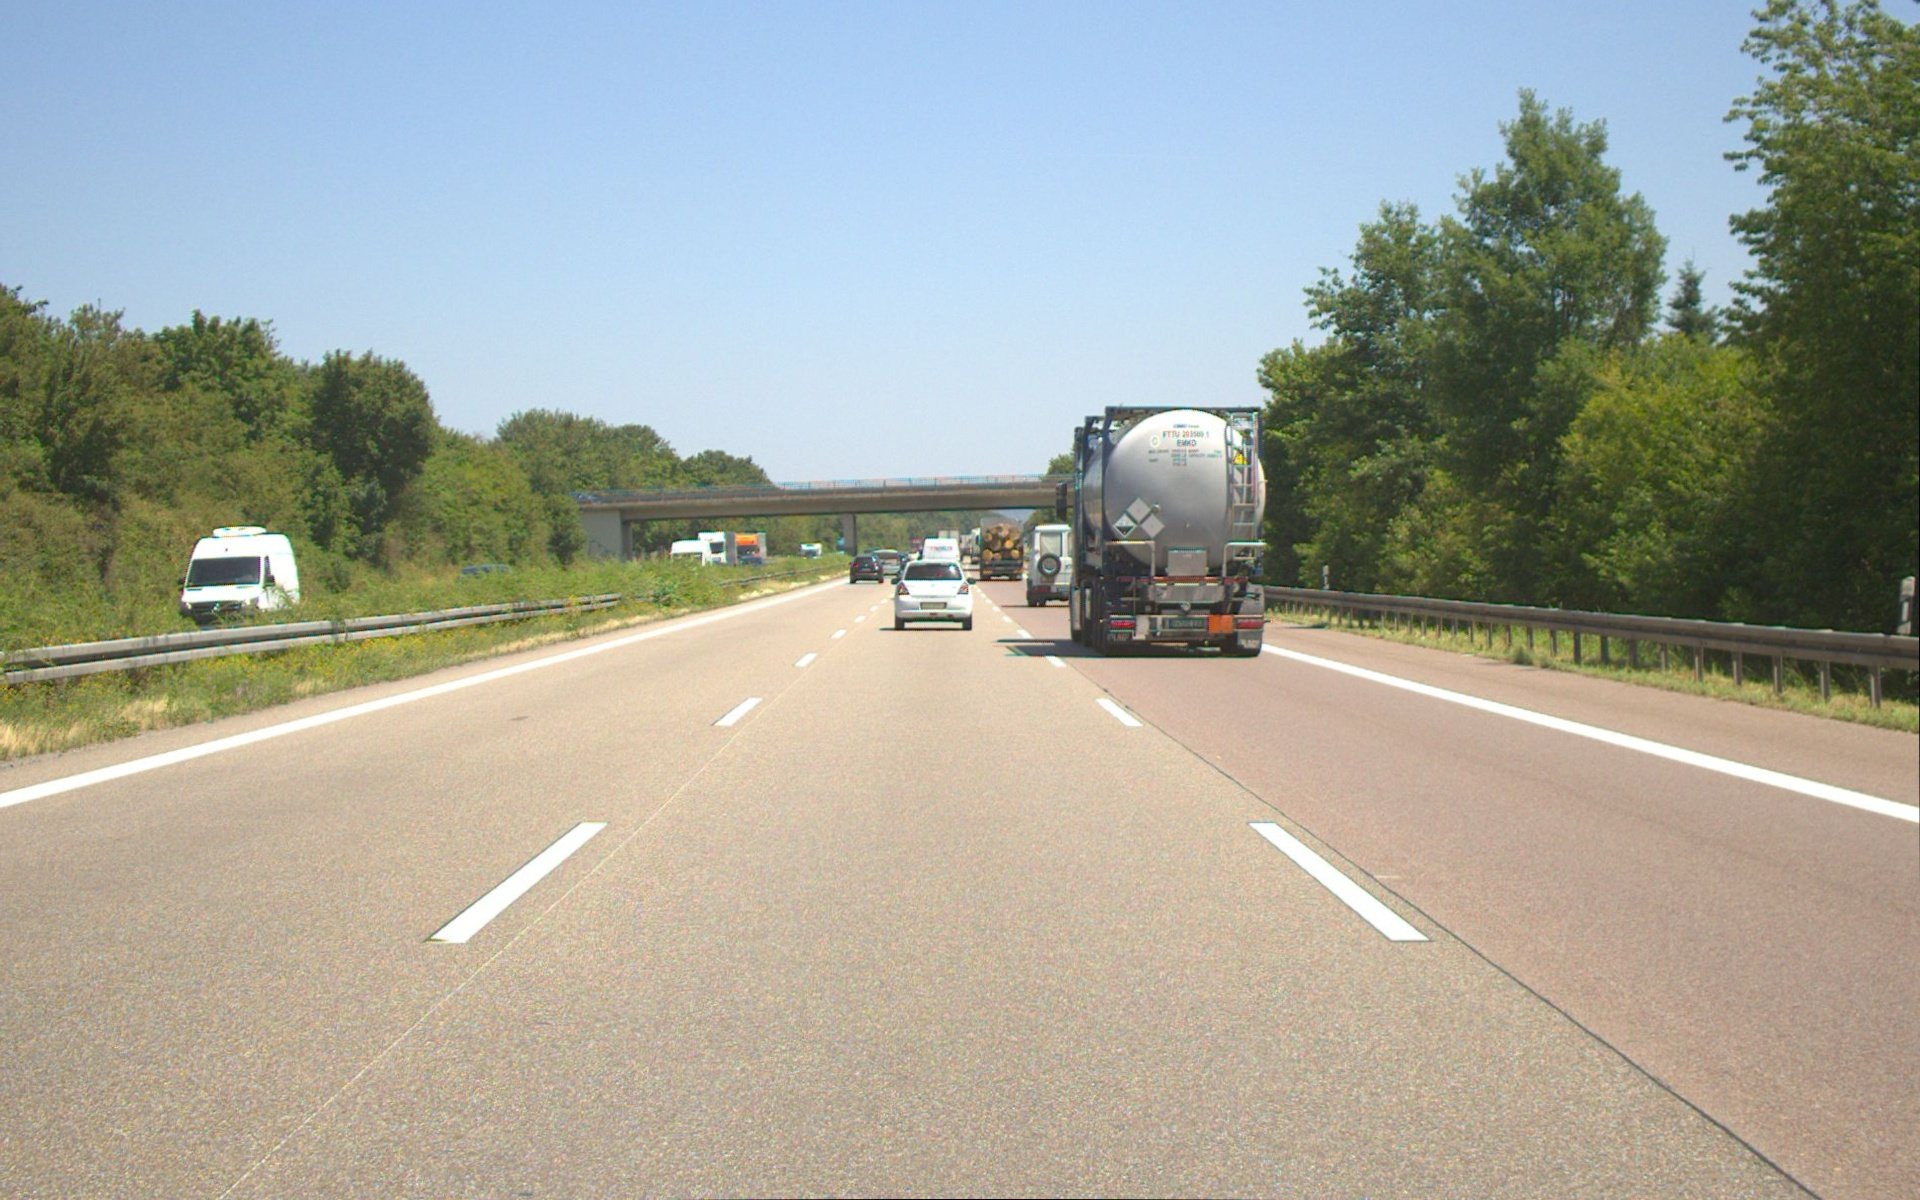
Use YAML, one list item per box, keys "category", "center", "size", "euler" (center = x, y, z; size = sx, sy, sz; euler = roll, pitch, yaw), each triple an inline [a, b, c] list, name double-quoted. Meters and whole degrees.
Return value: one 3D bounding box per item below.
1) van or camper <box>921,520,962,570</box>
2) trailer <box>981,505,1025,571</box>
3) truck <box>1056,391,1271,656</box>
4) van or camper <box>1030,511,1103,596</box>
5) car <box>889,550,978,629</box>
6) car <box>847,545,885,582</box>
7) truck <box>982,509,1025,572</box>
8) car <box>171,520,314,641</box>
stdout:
- category: "van or camper"
  center: [-0.958, -2.897, 181.750]
  size: [2.058, 2.613, 5.985]
  euler: [0, 1, 1]
- category: "trailer"
  center: [2.665, -3.785, 212.718]
  size: [2.653, 3.945, 13.636]
  euler: [0, 1, 1]
- category: "truck"
  center: [3.326, -1.262, 59.638]
  size: [2.798, 4.032, 13.355]
  euler: [1, 1, 0]
- category: "van or camper"
  center: [3.418, -1.503, 111.519]
  size: [2.113, 2.694, 6.368]
  euler: [0, 1, 0]
- category: "car"
  center: [-0.582, -0.237, 75.079]
  size: [1.857, 1.646, 4.000]
  euler: [1, 1, -1]
- category: "car"
  center: [-5.319, -2.077, 195.057]
  size: [2.051, 2.007, 4.177]
  euler: [1, 1, -1]
- category: "truck"
  center: [2.785, -3.796, 219.957]
  size: [2.670, 3.981, 6.636]
  euler: [0, 1, 1]
- category: "car"
  center: [-17.364, -0.496, 83.517]
  size: [2.035, 2.737, 6.658]
  euler: [-2, 1, -1]
